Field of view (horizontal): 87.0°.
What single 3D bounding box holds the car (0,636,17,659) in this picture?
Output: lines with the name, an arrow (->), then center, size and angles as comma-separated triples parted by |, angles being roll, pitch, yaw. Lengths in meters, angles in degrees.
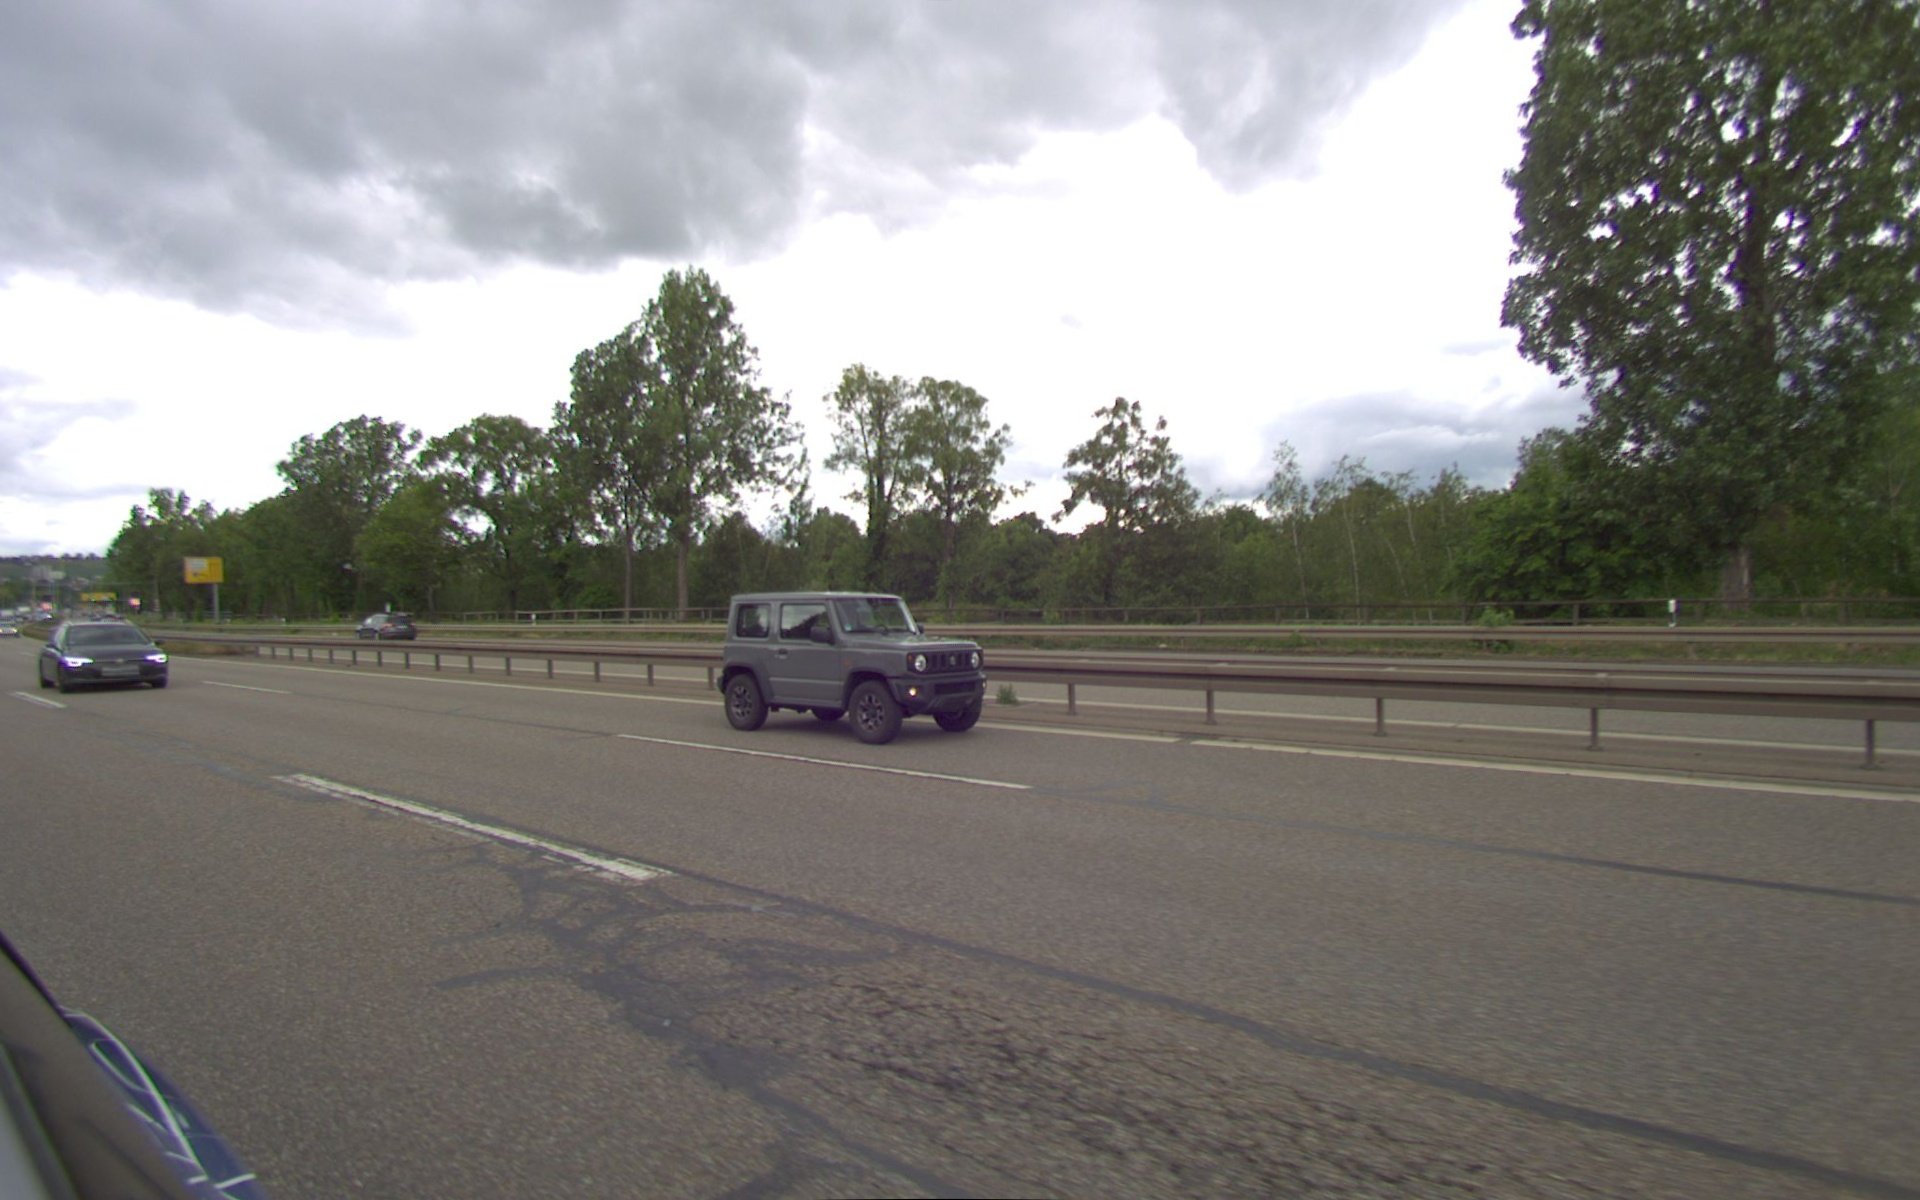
car -> -87.965, 4.369, 92.764 | 4.000, 2.028, 1.972 | -2, 1, 43

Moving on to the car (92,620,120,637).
car -> -102.418, 3.388, 121.380 | 3.998, 2.029, 1.973 | -1, 0, 41

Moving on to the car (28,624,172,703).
car -> -18.761, 1.304, 22.010 | 4.304, 1.512, 1.914 | -2, -1, 43

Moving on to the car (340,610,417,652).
car -> -30.865, 1.630, 53.670 | 5.220, 2.028, 1.973 | -2, 1, 42

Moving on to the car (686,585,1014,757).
car -> -1.436, 0.755, 12.221 | 3.996, 1.749, 1.663 | -1, -1, 41
